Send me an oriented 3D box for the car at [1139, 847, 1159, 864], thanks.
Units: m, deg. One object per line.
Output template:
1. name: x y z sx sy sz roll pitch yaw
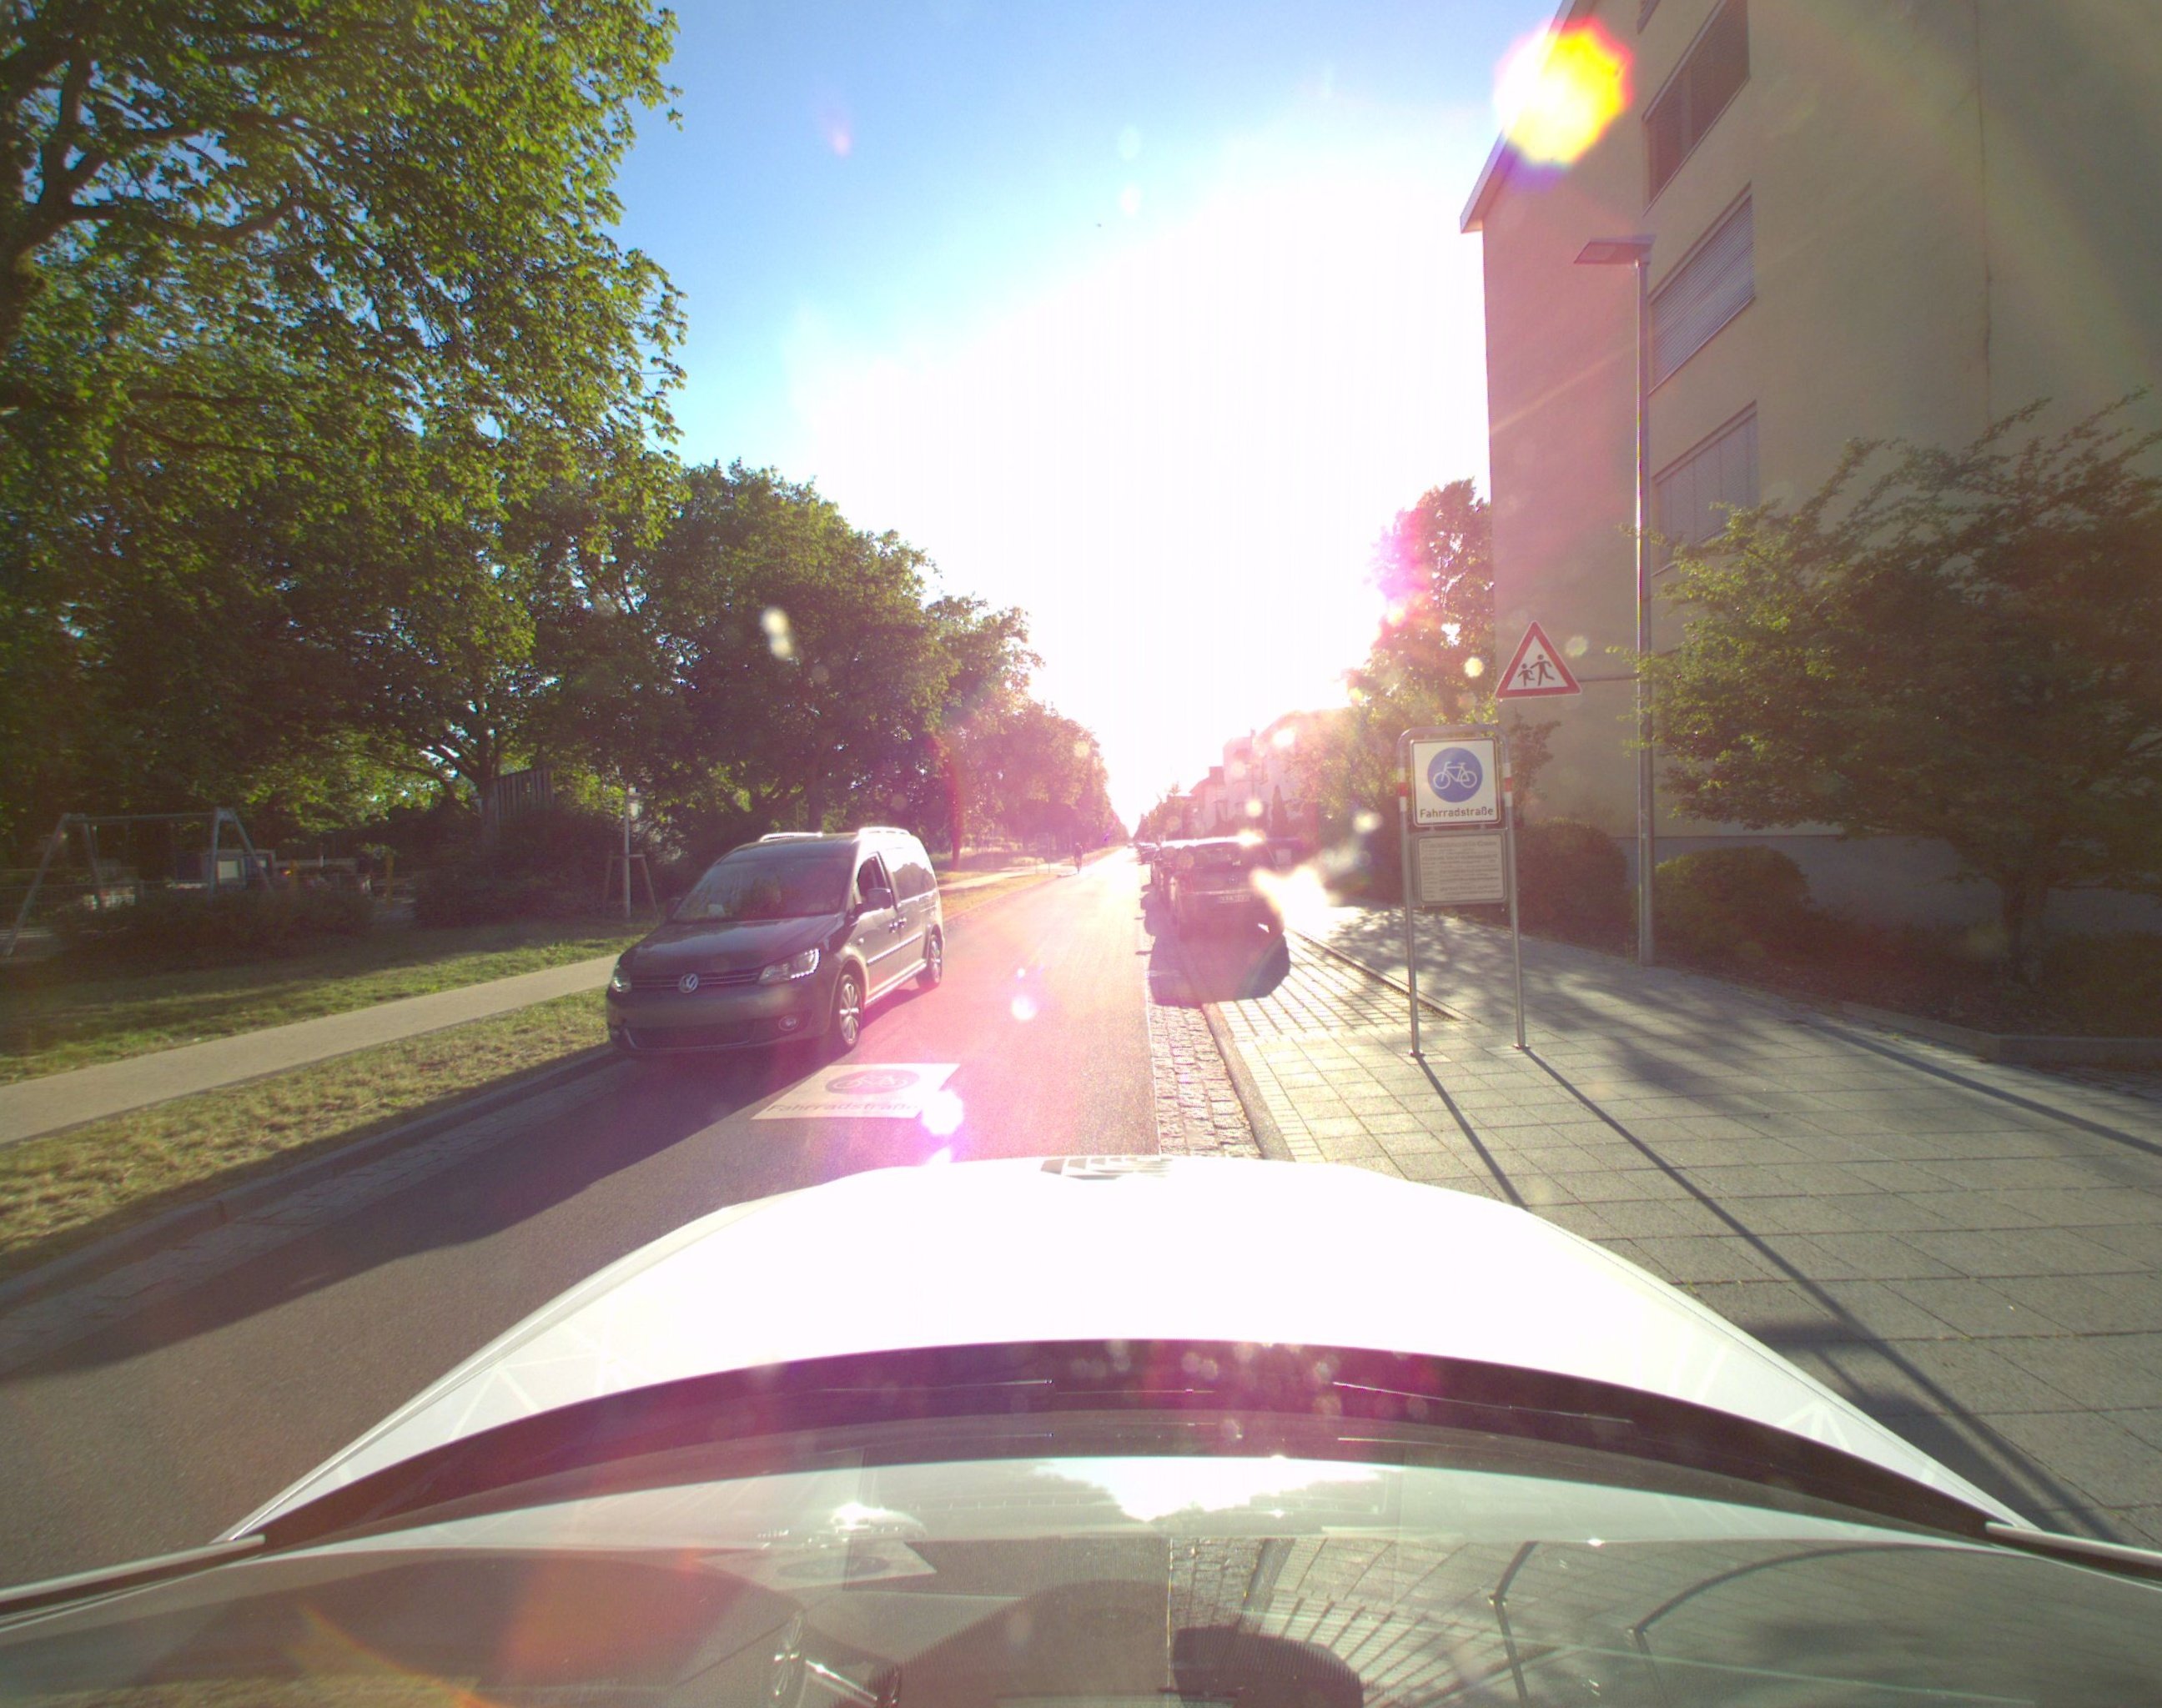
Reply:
1. car: 6.637 0.170 79.779 1.737 1.474 3.925 -5 0 3

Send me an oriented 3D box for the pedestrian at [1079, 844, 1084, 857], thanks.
1. pedestrian: 0.090 -0.554 117.140 0.621 1.831 0.888 -2 1 7

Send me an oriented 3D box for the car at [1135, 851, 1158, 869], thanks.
1. car: 5.517 0.478 68.278 1.766 1.288 4.278 -5 1 4

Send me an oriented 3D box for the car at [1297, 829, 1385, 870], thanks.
1. car: 11.218 -0.193 35.305 3.470 1.641 1.648 -2 0 11

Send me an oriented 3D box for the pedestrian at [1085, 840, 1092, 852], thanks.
1. pedestrian: 1.106 -1.138 117.005 0.779 1.614 0.954 -2 1 7

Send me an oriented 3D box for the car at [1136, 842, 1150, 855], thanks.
1. car: 7.643 -0.712 99.862 1.620 1.504 3.638 -4 1 4

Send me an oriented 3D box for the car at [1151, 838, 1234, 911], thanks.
1. car: 2.685 0.432 20.469 1.671 1.555 4.148 -3 0 3

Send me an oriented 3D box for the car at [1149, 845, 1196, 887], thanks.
1. car: 3.439 0.415 31.326 1.557 1.390 4.379 -3 0 4

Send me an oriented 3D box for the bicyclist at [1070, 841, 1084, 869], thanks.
1. bicyclist: -0.221 0.050 49.128 0.679 1.672 1.173 -3 -1 3

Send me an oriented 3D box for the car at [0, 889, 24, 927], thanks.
1. car: -41.230 2.080 29.227 1.515 1.367 3.758 -1 1 5

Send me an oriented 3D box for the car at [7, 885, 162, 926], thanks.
1. car: -40.708 2.080 33.407 1.515 1.367 3.758 -1 1 5

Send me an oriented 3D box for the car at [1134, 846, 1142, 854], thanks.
1. car: 11.735 -0.887 167.352 1.491 1.567 3.271 -2 0 5

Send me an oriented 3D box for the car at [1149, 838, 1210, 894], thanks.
1. car: 3.067 0.340 25.989 1.671 1.555 4.136 -3 0 5

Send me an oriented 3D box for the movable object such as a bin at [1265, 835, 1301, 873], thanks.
1. movable object such as a bin: 7.975 0.000 32.189 1.231 1.432 1.125 -1 0 5

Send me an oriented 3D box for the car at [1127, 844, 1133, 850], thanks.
1. car: 14.631 -2.109 244.133 1.645 1.541 3.270 -1 0 4

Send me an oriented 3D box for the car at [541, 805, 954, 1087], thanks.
1. car: -2.666 0.633 7.905 1.836 1.847 4.576 -3 0 3

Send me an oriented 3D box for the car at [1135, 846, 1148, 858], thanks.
1. car: 8.613 -0.274 115.887 1.730 1.448 4.200 -3 0 2

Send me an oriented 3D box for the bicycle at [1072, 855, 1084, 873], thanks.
1. bicycle: -0.162 0.614 49.071 0.554 1.032 1.916 -3 0 3

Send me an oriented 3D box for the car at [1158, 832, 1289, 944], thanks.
1. car: 2.391 0.498 14.611 1.703 1.610 4.172 -4 1 3
